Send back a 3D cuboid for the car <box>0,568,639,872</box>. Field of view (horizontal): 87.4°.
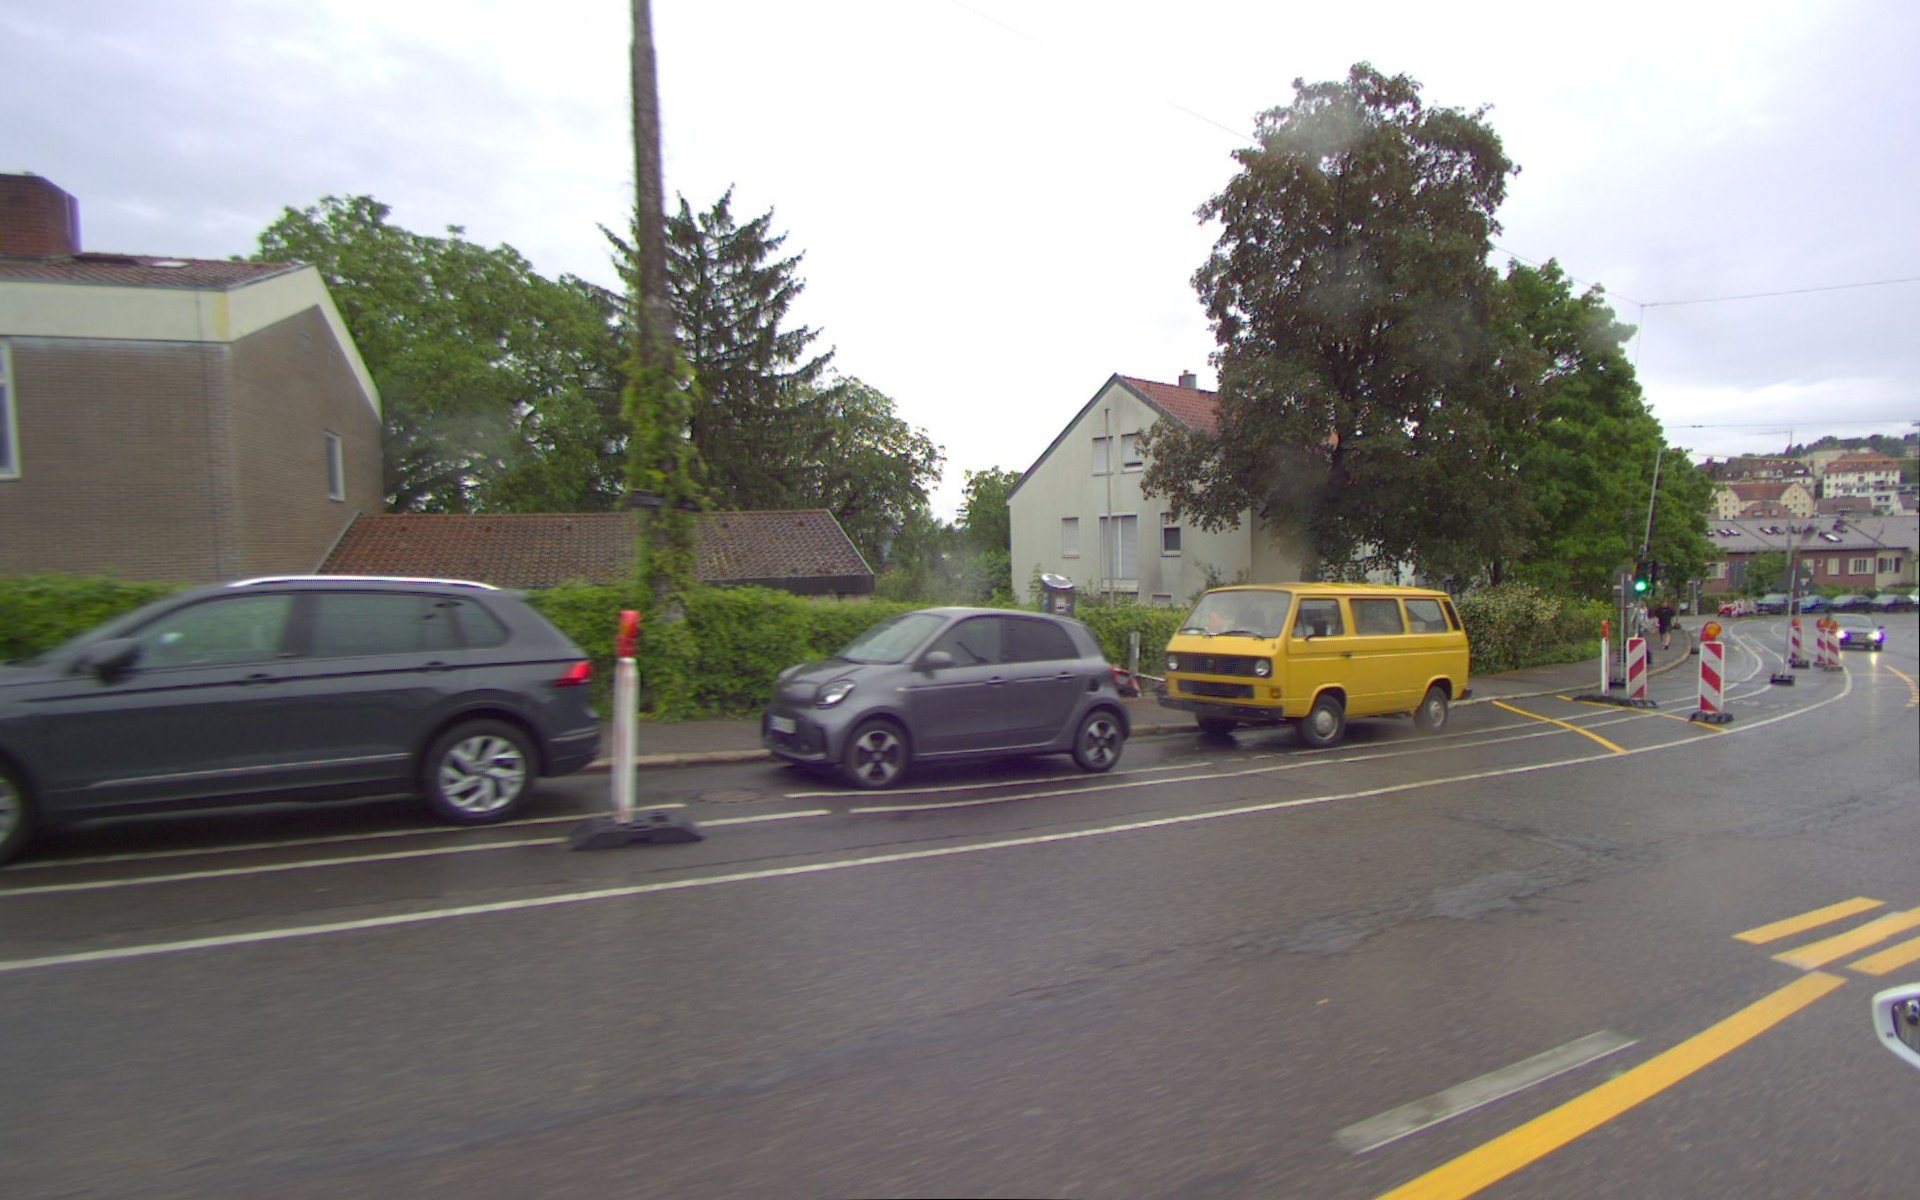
[{"bbox_3d":[-4.629,0.652,6.744,4.416,1.629,1.709,1,0,-34],"label":"car"}]

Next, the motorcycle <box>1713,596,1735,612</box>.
[{"bbox_3d":[57.999,0.301,76.269,1.896,1.155,0.508,-1,1,-25],"label":"motorcycle"}]

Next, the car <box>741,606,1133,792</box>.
[{"bbox_3d":[-0.158,0.836,9.566,3.428,1.473,1.565,2,-1,-34],"label":"car"}]

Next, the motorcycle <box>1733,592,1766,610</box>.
[{"bbox_3d":[61.617,0.102,78.450,1.871,1.289,0.574,3,5,27],"label":"motorcycle"}]

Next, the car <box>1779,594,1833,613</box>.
[{"bbox_3d":[69.874,0.274,82.923,4.413,1.424,1.693,-1,5,-26],"label":"car"}]

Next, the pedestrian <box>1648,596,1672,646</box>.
[{"bbox_3d":[26.830,0.798,38.503,0.698,1.841,1.143,2,2,36],"label":"pedestrian"}]

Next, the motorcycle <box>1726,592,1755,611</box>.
[{"bbox_3d":[60.296,0.137,77.608,0.601,1.321,1.806,1,4,-3],"label":"motorcycle"}]

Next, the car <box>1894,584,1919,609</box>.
[{"bbox_3d":[85.458,-0.300,88.682,4.934,2.107,1.849,0,4,-13],"label":"car"}]

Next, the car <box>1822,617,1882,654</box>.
[{"bbox_3d":[37.953,1.461,42.820,1.678,1.480,4.662,-1,-1,39],"label":"car"}]

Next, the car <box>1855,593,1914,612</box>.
[{"bbox_3d":[79.996,0.237,86.916,4.452,1.497,1.805,0,4,-19],"label":"car"}]

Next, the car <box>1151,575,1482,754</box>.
[{"bbox_3d":[4.717,0.757,13.015,4.532,1.953,1.791,1,-1,-36],"label":"car"}]

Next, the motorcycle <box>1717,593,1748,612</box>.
[{"bbox_3d":[59.369,0.184,77.237,0.505,1.297,1.791,-2,4,-31],"label":"motorcycle"}]

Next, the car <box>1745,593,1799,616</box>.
[{"bbox_3d":[65.080,0.321,80.527,4.336,1.598,1.911,-1,5,-31],"label":"car"}]

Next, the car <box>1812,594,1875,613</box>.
[{"bbox_3d":[74.803,0.265,85.049,4.448,1.497,1.807,0,4,-17],"label":"car"}]

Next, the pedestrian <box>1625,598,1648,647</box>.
[{"bbox_3d":[26.202,0.867,38.911,0.671,1.841,1.151,2,2,36],"label":"pedestrian"}]
